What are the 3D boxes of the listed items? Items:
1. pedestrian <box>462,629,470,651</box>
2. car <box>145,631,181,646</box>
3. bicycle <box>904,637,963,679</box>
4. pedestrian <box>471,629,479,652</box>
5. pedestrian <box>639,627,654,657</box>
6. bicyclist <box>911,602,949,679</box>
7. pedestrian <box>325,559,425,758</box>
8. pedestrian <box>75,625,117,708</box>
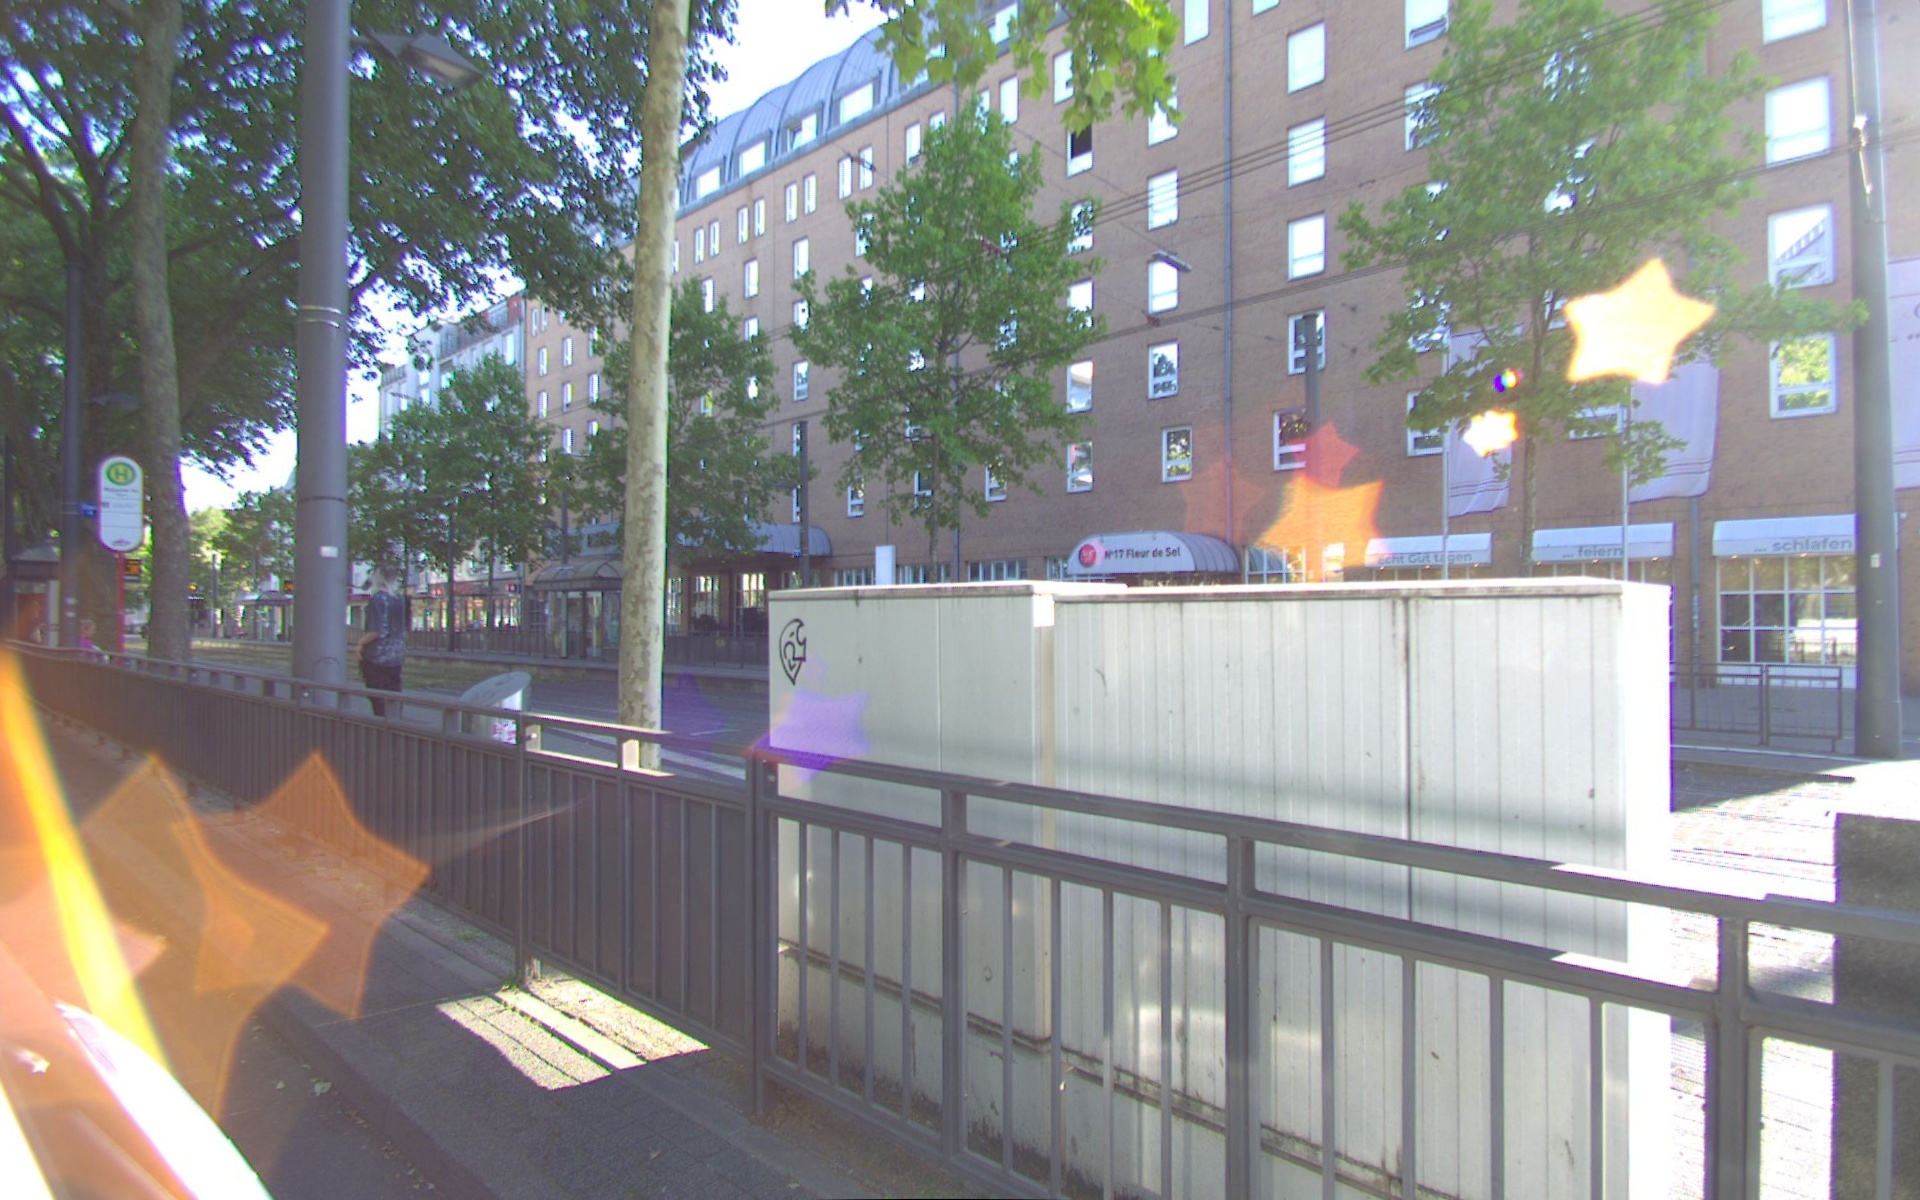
[{"bbox_3d":[-33.472,2.696,68.594,0.431,1.518,0.660,1,-2,-27],"label":"pedestrian"},{"bbox_3d":[-82.546,3.949,104.766,3.993,1.530,1.975,-1,-2,37],"label":"car"},{"bbox_3d":[-0.700,1.455,25.782,0.444,1.012,1.754,2,-2,-44],"label":"bicycle"},{"bbox_3d":[-32.980,2.758,68.835,0.431,1.532,0.660,1,-2,-27],"label":"pedestrian"},{"bbox_3d":[-15.597,2.082,50.390,0.516,1.447,0.512,-2,-2,44],"label":"pedestrian"},{"bbox_3d":[-0.763,1.022,25.729,0.564,1.918,0.814,2,-2,-43],"label":"bicyclist"},{"bbox_3d":[-5.806,0.549,10.058,0.620,1.897,0.601,1,0,26],"label":"pedestrian"},{"bbox_3d":[-13.966,1.061,16.360,0.493,1.325,0.419,1,-2,-41],"label":"pedestrian"}]
